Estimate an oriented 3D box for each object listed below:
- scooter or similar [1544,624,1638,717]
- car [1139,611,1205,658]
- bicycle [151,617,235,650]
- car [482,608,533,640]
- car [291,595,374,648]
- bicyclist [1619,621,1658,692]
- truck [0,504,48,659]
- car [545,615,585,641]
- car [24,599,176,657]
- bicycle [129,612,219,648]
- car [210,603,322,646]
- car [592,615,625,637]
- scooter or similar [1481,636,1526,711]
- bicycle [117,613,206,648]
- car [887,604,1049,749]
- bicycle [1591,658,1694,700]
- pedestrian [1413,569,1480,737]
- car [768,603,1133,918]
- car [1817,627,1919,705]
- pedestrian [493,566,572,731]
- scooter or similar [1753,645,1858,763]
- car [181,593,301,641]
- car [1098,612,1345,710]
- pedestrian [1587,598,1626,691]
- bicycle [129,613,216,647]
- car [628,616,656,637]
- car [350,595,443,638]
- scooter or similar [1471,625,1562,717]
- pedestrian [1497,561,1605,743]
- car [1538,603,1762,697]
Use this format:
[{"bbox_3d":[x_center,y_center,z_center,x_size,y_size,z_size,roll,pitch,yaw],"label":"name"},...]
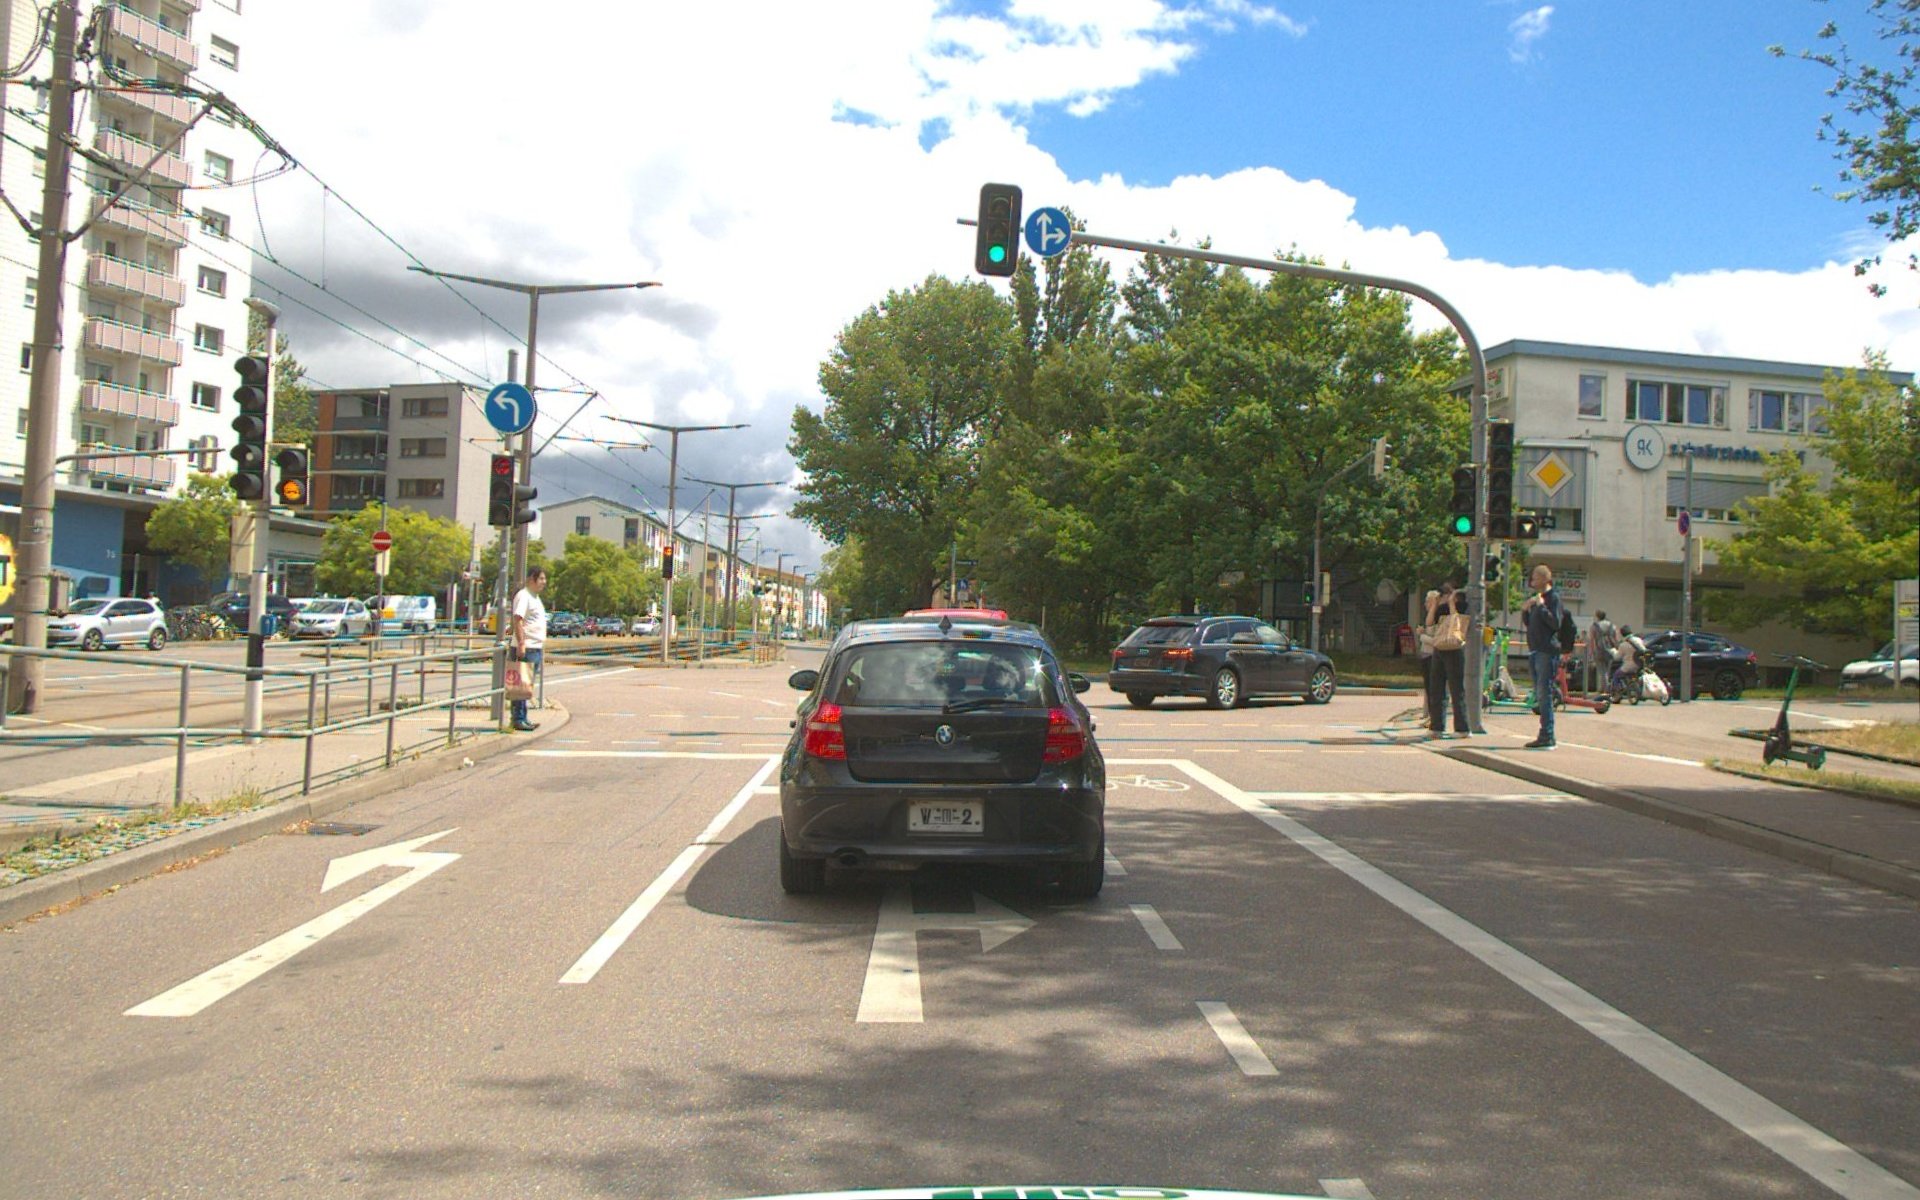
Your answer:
[{"bbox_3d":[9.239,1.023,24.242,1.127,1.294,0.555,2,0,2],"label":"scooter or similar"},{"bbox_3d":[8.997,1.424,70.366,1.694,1.904,3.991,1,-1,-9],"label":"car"},{"bbox_3d":[-26.266,1.158,56.671,2.528,1.026,0.749,3,-3,-29],"label":"bicycle"},{"bbox_3d":[-23.117,1.225,84.617,1.618,1.561,3.870,1,-1,-2],"label":"car"},{"bbox_3d":[-22.277,0.742,58.830,1.559,1.787,3.773,2,0,-1],"label":"car"},{"bbox_3d":[11.370,0.944,27.721,0.497,1.177,0.395,1,0,-35],"label":"bicyclist"},{"bbox_3d":[-20.571,-0.414,31.945,2.236,3.172,7.312,2,0,-4],"label":"truck"},{"bbox_3d":[-24.632,1.723,103.260,1.618,1.561,3.870,1,-1,-2],"label":"car"},{"bbox_3d":[-23.240,0.751,44.828,1.377,1.486,3.776,1,0,17],"label":"car"},{"bbox_3d":[-25.187,0.973,53.010,2.528,1.026,0.749,3,-3,-29],"label":"bicycle"},{"bbox_3d":[-28.344,1.006,67.581,1.628,1.676,3.897,1,0,44],"label":"car"},{"bbox_3d":[-25.535,1.878,120.169,1.618,1.561,3.870,1,-1,-2],"label":"car"},{"bbox_3d":[8.333,1.115,25.400,0.536,1.082,1.263,1,0,13],"label":"scooter or similar"},{"bbox_3d":[-25.841,1.008,53.525,2.528,1.026,0.749,3,-3,-29],"label":"bicycle"},{"bbox_3d":[0.069,0.776,18.373,1.605,1.424,3.419,1,0,0],"label":"car"},{"bbox_3d":[11.400,1.317,27.676,0.528,0.620,1.572,1,0,-33],"label":"bicycle"},{"bbox_3d":[5.621,0.604,19.125,0.622,1.909,0.518,1,0,6],"label":"pedestrian"},{"bbox_3d":[-0.054,0.749,9.375,1.665,1.424,3.419,1,0,0],"label":"car"},{"bbox_3d":[23.578,1.616,40.454,4.290,1.795,1.996,2,-1,-9],"label":"car"},{"bbox_3d":[-4.669,0.518,18.090,0.673,1.764,0.687,1,-1,-1],"label":"pedestrian"},{"bbox_3d":[9.717,1.187,19.018,0.872,1.251,0.454,6,-1,0],"label":"scooter or similar"},{"bbox_3d":[-27.121,0.638,62.457,3.950,1.716,1.558,1,0,-34],"label":"car"},{"bbox_3d":[4.390,0.961,27.251,1.873,1.447,4.511,1,0,42],"label":"car"},{"bbox_3d":[12.397,0.844,31.731,0.644,1.743,0.461,1,0,26],"label":"pedestrian"},{"bbox_3d":[-26.005,1.005,54.625,2.528,1.026,0.749,3,-3,-29],"label":"bicycle"},{"bbox_3d":[-25.845,2.144,134.551,1.618,1.561,3.870,1,-1,-2],"label":"car"},{"bbox_3d":[-27.053,0.794,79.426,3.892,2.009,1.631,1,0,-43],"label":"car"},{"bbox_3d":[7.856,0.996,23.378,1.086,1.257,0.540,1,0,2],"label":"scooter or similar"},{"bbox_3d":[6.414,0.549,17.993,0.779,1.909,1.013,1,0,-1],"label":"pedestrian"},{"bbox_3d":[16.213,1.153,38.963,4.450,2.049,1.997,2,-1,-8],"label":"car"}]
